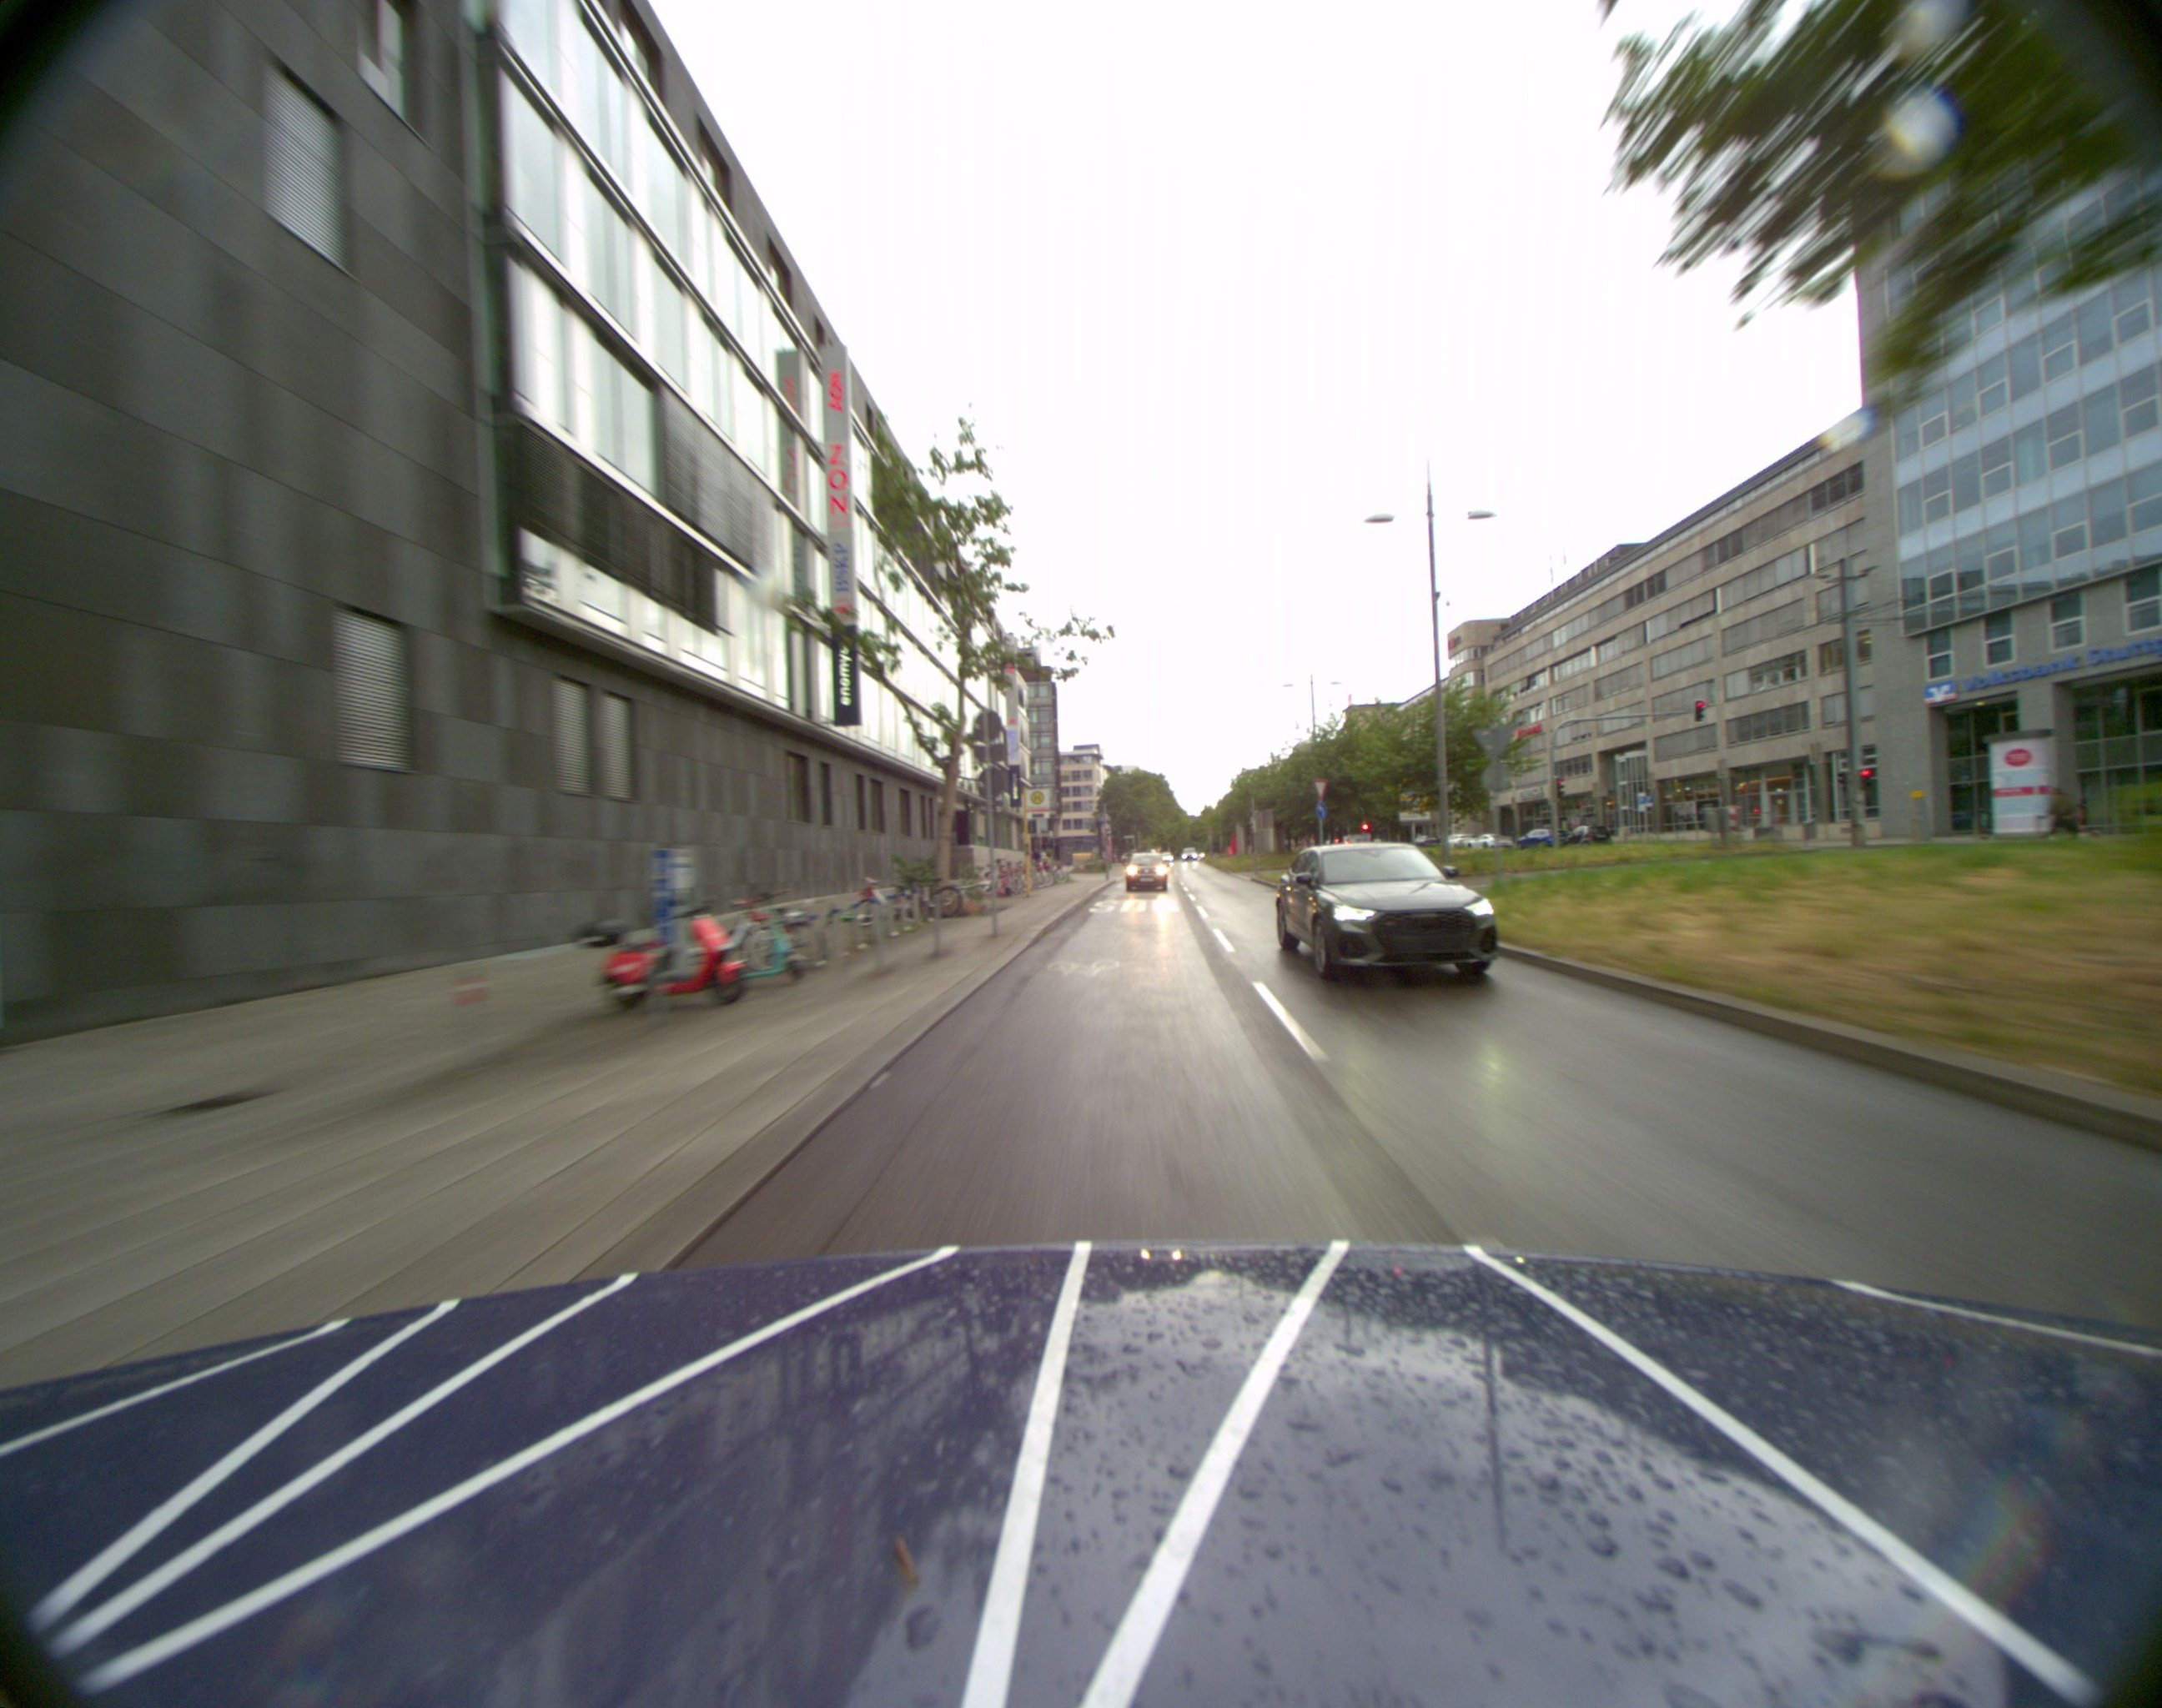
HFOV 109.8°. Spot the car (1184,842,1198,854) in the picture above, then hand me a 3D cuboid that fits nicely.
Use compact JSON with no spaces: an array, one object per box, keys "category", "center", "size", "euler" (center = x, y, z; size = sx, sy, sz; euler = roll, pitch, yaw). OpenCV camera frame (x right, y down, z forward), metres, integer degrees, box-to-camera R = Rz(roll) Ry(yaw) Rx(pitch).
[{"category":"car","center":[14.860,-0.818,103.013],"size":[1.605,1.377,3.020],"euler":[-4,0,5]}]

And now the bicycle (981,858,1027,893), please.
[{"category":"bicycle","center":[-2.727,0.752,27.011],"size":[1.538,1.134,0.689],"euler":[-2,2,-1]}]

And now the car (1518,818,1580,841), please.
[{"category":"car","center":[32.617,-1.648,53.081],"size":[1.679,1.377,4.320],"euler":[-4,0,1]}]

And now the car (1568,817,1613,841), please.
[{"category":"car","center":[32.341,-1.579,48.306],"size":[1.242,1.377,2.628],"euler":[-4,1,5]}]

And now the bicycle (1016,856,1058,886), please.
[{"category":"bicycle","center":[-1.863,0.719,32.449],"size":[1.734,1.176,0.689],"euler":[-2,1,-1]}]

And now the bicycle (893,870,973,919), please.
[{"category":"bicycle","center":[-3.679,1.005,18.918],"size":[1.798,1.062,0.556],"euler":[-4,2,1]}]

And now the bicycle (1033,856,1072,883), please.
[{"category":"bicycle","center":[-1.326,0.726,35.442],"size":[1.734,1.176,0.689],"euler":[-2,1,-1]}]

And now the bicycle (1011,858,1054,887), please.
[{"category":"bicycle","center":[-2.015,0.749,31.660],"size":[1.734,1.133,0.689],"euler":[-2,1,-1]}]

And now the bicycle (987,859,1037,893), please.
[{"category":"bicycle","center":[-2.500,0.786,27.728],"size":[1.710,1.134,0.689],"euler":[-2,2,-1]}]

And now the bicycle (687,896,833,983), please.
[{"category":"bicycle","center":[-4.750,1.258,11.328],"size":[1.799,1.101,0.670],"euler":[-4,2,0]}]

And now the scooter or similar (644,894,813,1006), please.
[{"category":"scooter or similar","center":[-4.503,1.213,9.778],"size":[1.796,1.236,0.596],"euler":[-4,2,0]}]

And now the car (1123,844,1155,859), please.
[{"category":"car","center":[8.449,-0.348,111.151],"size":[4.202,1.802,2.003],"euler":[-4,1,40]}]

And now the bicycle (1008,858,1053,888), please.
[{"category":"bicycle","center":[-2.038,0.759,30.869],"size":[1.734,1.133,0.689],"euler":[-2,1,-1]}]

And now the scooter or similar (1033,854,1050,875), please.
[{"category":"scooter or similar","center":[-2.577,0.691,49.471],"size":[0.779,1.298,1.335],"euler":[-2,1,9]}]

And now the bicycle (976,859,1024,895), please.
[{"category":"bicycle","center":[-2.800,0.780,26.261],"size":[1.538,1.134,0.689],"euler":[-2,2,-1]}]

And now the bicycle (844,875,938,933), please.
[{"category":"bicycle","center":[-4.119,1.079,16.543],"size":[1.799,1.101,0.670],"euler":[-4,2,0]}]

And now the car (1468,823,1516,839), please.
[{"category":"car","center":[32.348,-1.783,59.896],"size":[1.575,1.116,4.107],"euler":[-4,0,1]}]

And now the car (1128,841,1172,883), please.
[{"category":"car","center":[2.803,0.288,30.338],"size":[1.594,1.501,3.710],"euler":[-2,1,7]}]

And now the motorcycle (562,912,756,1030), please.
[{"category":"motorcycle","center":[-4.785,1.317,8.692],"size":[1.796,1.133,0.596],"euler":[-4,2,0]}]

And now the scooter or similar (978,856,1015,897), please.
[{"category":"scooter or similar","center":[-2.691,0.730,24.290],"size":[1.108,1.251,0.302],"euler":[-2,2,-1]}]

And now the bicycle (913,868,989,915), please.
[{"category":"bicycle","center":[-3.363,0.970,19.753],"size":[1.798,1.062,0.556],"euler":[-4,2,1]}]

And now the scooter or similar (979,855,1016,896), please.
[{"category":"scooter or similar","center":[-2.630,0.678,23.918],"size":[1.063,1.251,0.302],"euler":[-2,2,-1]}]

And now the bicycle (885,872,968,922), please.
[{"category":"bicycle","center":[-3.706,1.034,18.322],"size":[1.798,1.062,0.556],"euler":[-4,2,1]}]

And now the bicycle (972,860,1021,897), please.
[{"category":"bicycle","center":[-2.825,0.807,25.472],"size":[1.538,1.134,0.662],"euler":[-2,2,-1]}]

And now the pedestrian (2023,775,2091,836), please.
[{"category":"pedestrian","center":[33.390,-1.634,26.006],"size":[1.055,2.002,1.034],"euler":[-2,2,-7]}]

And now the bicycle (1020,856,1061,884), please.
[{"category":"bicycle","center":[-1.765,0.710,33.440],"size":[1.734,1.176,0.689],"euler":[-2,1,-1]}]

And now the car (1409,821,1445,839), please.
[{"category":"car","center":[33.253,-2.282,73.117],"size":[1.575,1.571,4.107],"euler":[-4,0,1]}]

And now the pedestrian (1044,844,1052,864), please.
[{"category":"pedestrian","center":[-3.143,0.006,72.678],"size":[0.723,1.820,0.747],"euler":[-1,1,4]}]

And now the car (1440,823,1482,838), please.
[{"category":"car","center":[32.677,-1.988,65.417],"size":[1.575,1.116,4.107],"euler":[-4,0,1]}]

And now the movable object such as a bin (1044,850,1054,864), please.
[{"category":"movable object such as a bin","center":[-3.004,0.296,71.390],"size":[0.804,1.258,1.788],"euler":[-1,1,4]}]

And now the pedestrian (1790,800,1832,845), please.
[{"category":"pedestrian","center":[31.768,-1.362,33.073],"size":[0.959,1.870,0.932],"euler":[-2,2,-7]}]

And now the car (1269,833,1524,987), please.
[{"category":"car","center":[3.740,0.553,9.922],"size":[1.864,1.509,4.346],"euler":[-2,1,6]}]

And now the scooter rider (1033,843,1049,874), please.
[{"category":"scooter rider","center":[-2.590,0.290,49.453],"size":[0.779,2.009,0.924],"euler":[-2,1,9]}]

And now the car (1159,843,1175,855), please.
[{"category":"car","center":[11.995,-0.697,106.211],"size":[2.071,1.578,4.109],"euler":[-4,0,6]}]

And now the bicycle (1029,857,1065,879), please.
[{"category":"bicycle","center":[-1.663,0.696,37.754],"size":[1.734,1.064,0.689],"euler":[-2,1,-1]}]
